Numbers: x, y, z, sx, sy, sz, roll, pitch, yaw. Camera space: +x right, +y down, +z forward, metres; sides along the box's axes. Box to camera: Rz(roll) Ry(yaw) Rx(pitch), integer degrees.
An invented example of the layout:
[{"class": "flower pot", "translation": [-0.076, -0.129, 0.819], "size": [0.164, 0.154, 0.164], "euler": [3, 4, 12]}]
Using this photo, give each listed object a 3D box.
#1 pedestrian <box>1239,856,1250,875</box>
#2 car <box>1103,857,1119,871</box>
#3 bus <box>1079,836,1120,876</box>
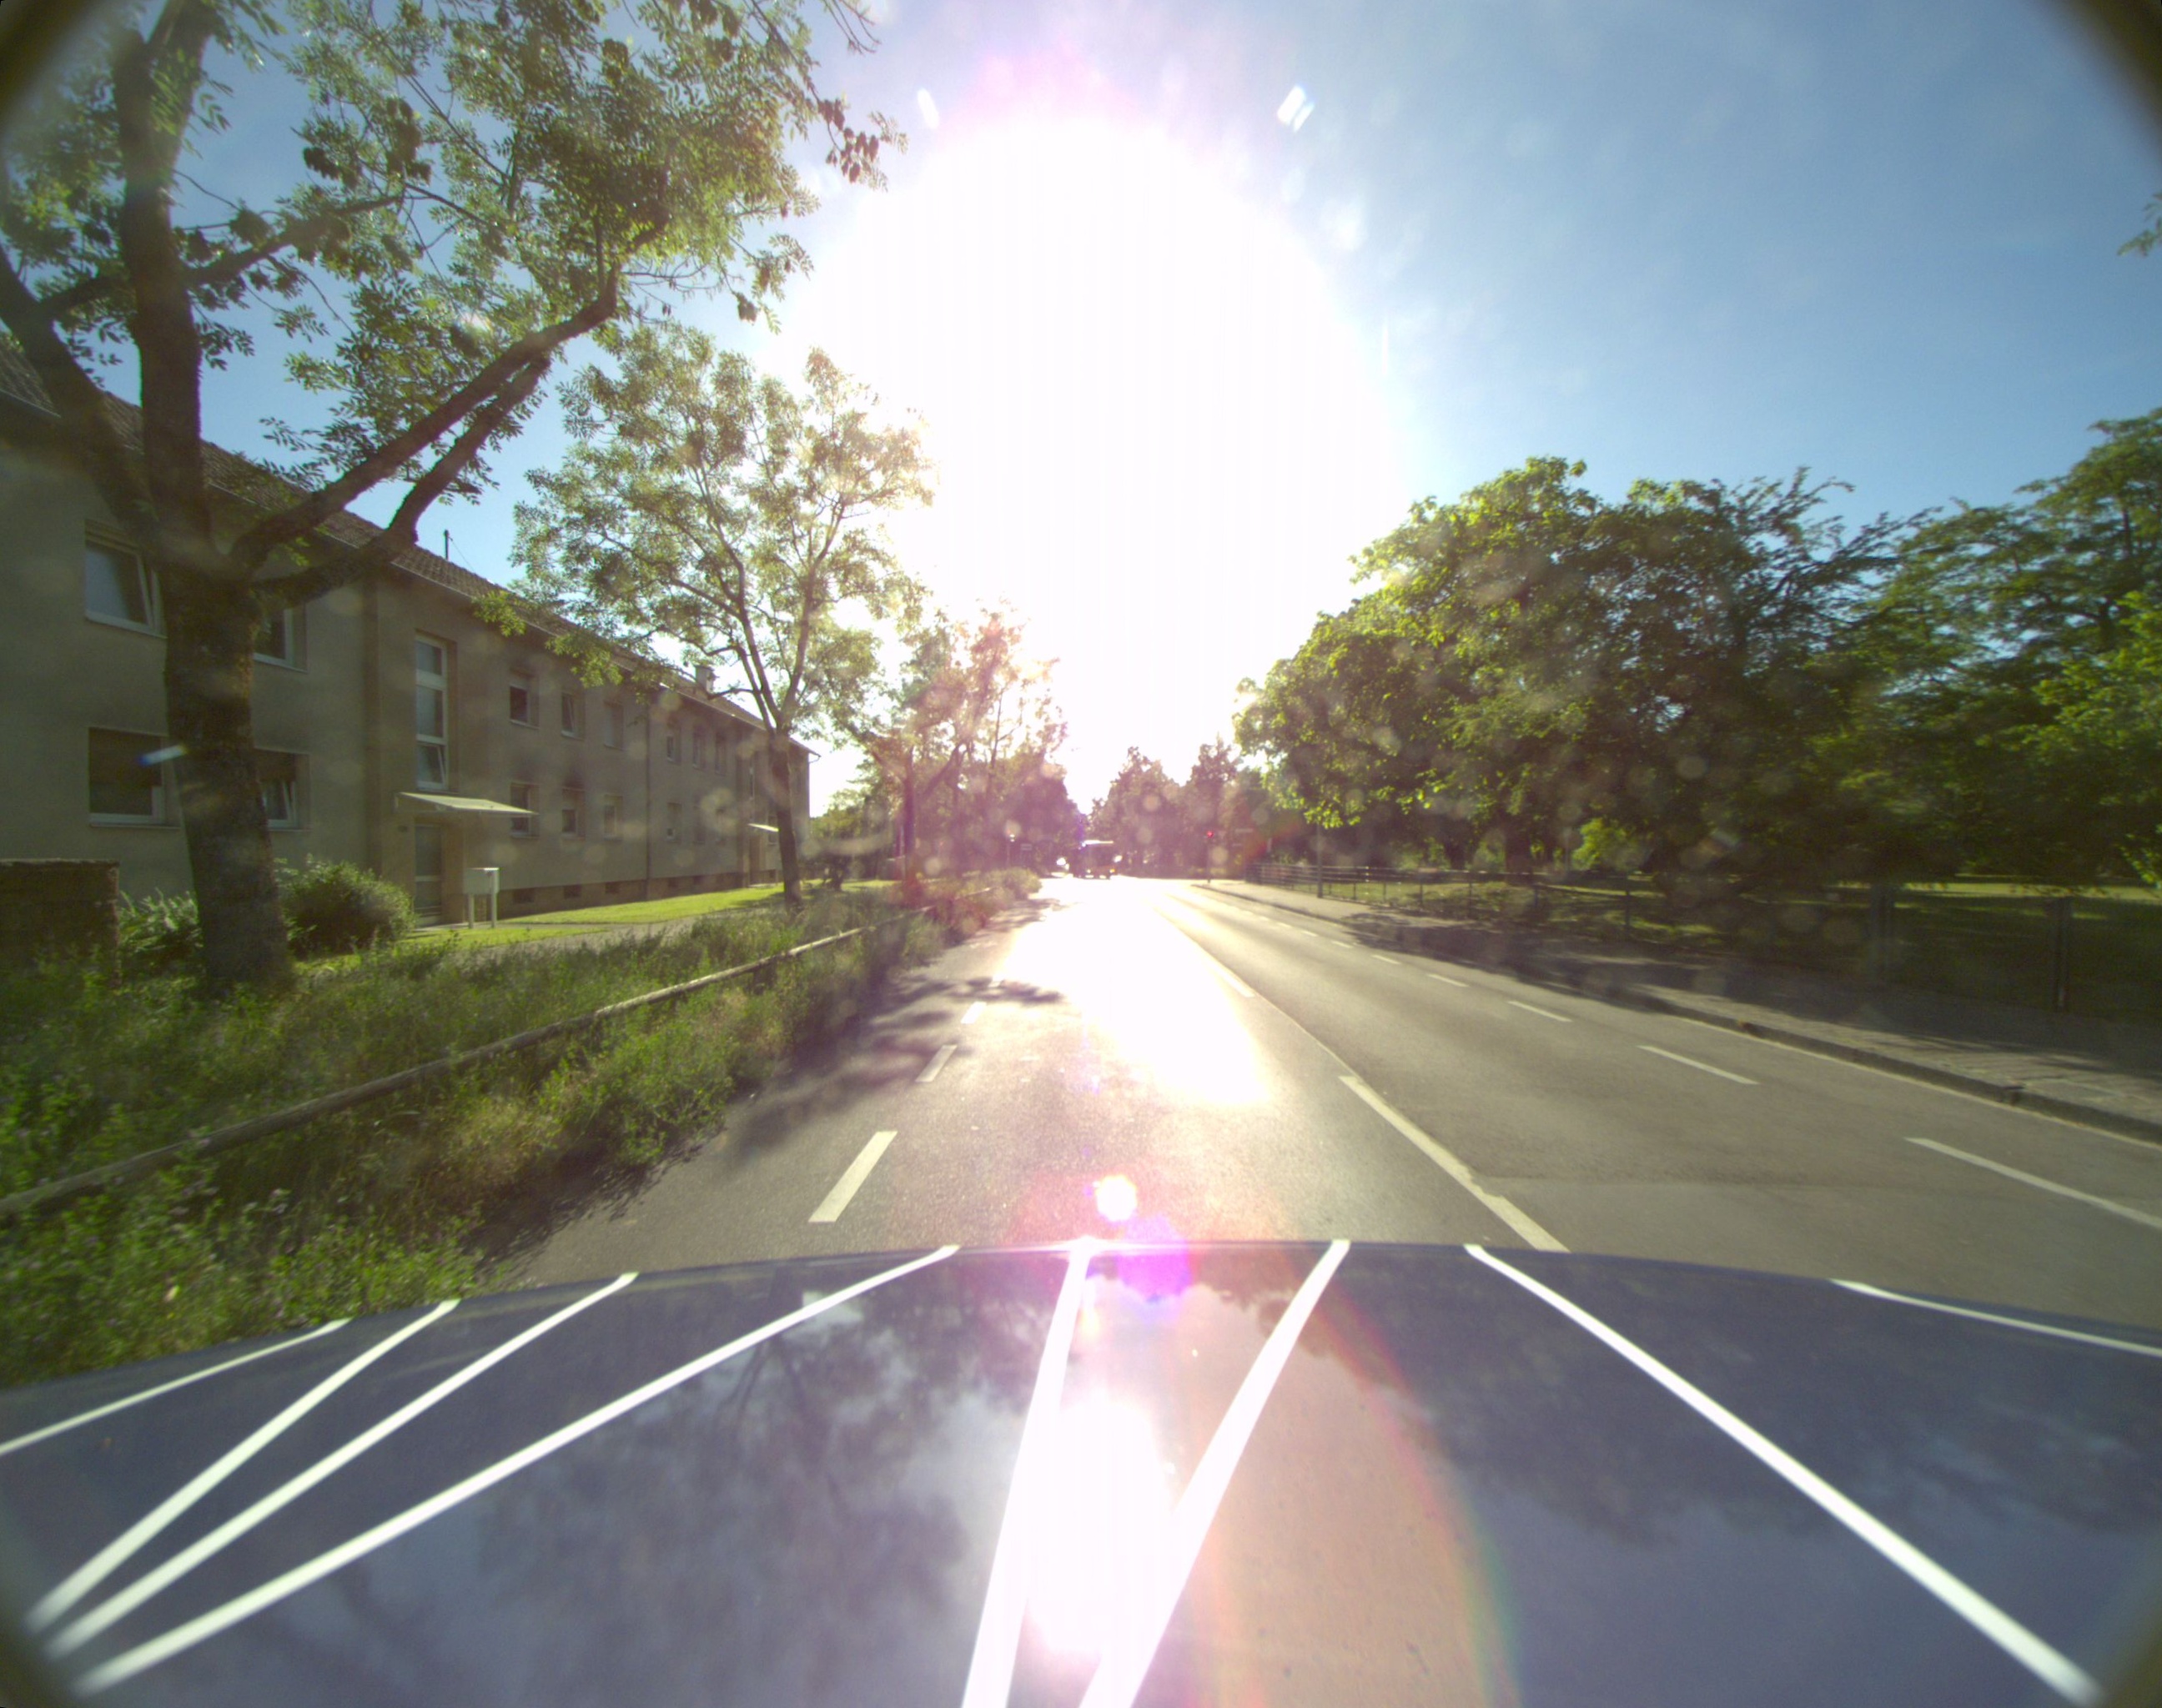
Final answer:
[{"class": "pedestrian", "translation": [14.330, 1.004, 66.440], "size": [0.800, 1.624, 0.647], "euler": [-2, 0, 1]}, {"class": "car", "translation": [3.523, 1.168, 89.516], "size": [1.819, 1.608, 4.392], "euler": [0, 0, 1]}, {"class": "bus", "translation": [1.570, 0.211, 66.082], "size": [3.128, 3.080, 12.481], "euler": [-2, -1, 1]}]
